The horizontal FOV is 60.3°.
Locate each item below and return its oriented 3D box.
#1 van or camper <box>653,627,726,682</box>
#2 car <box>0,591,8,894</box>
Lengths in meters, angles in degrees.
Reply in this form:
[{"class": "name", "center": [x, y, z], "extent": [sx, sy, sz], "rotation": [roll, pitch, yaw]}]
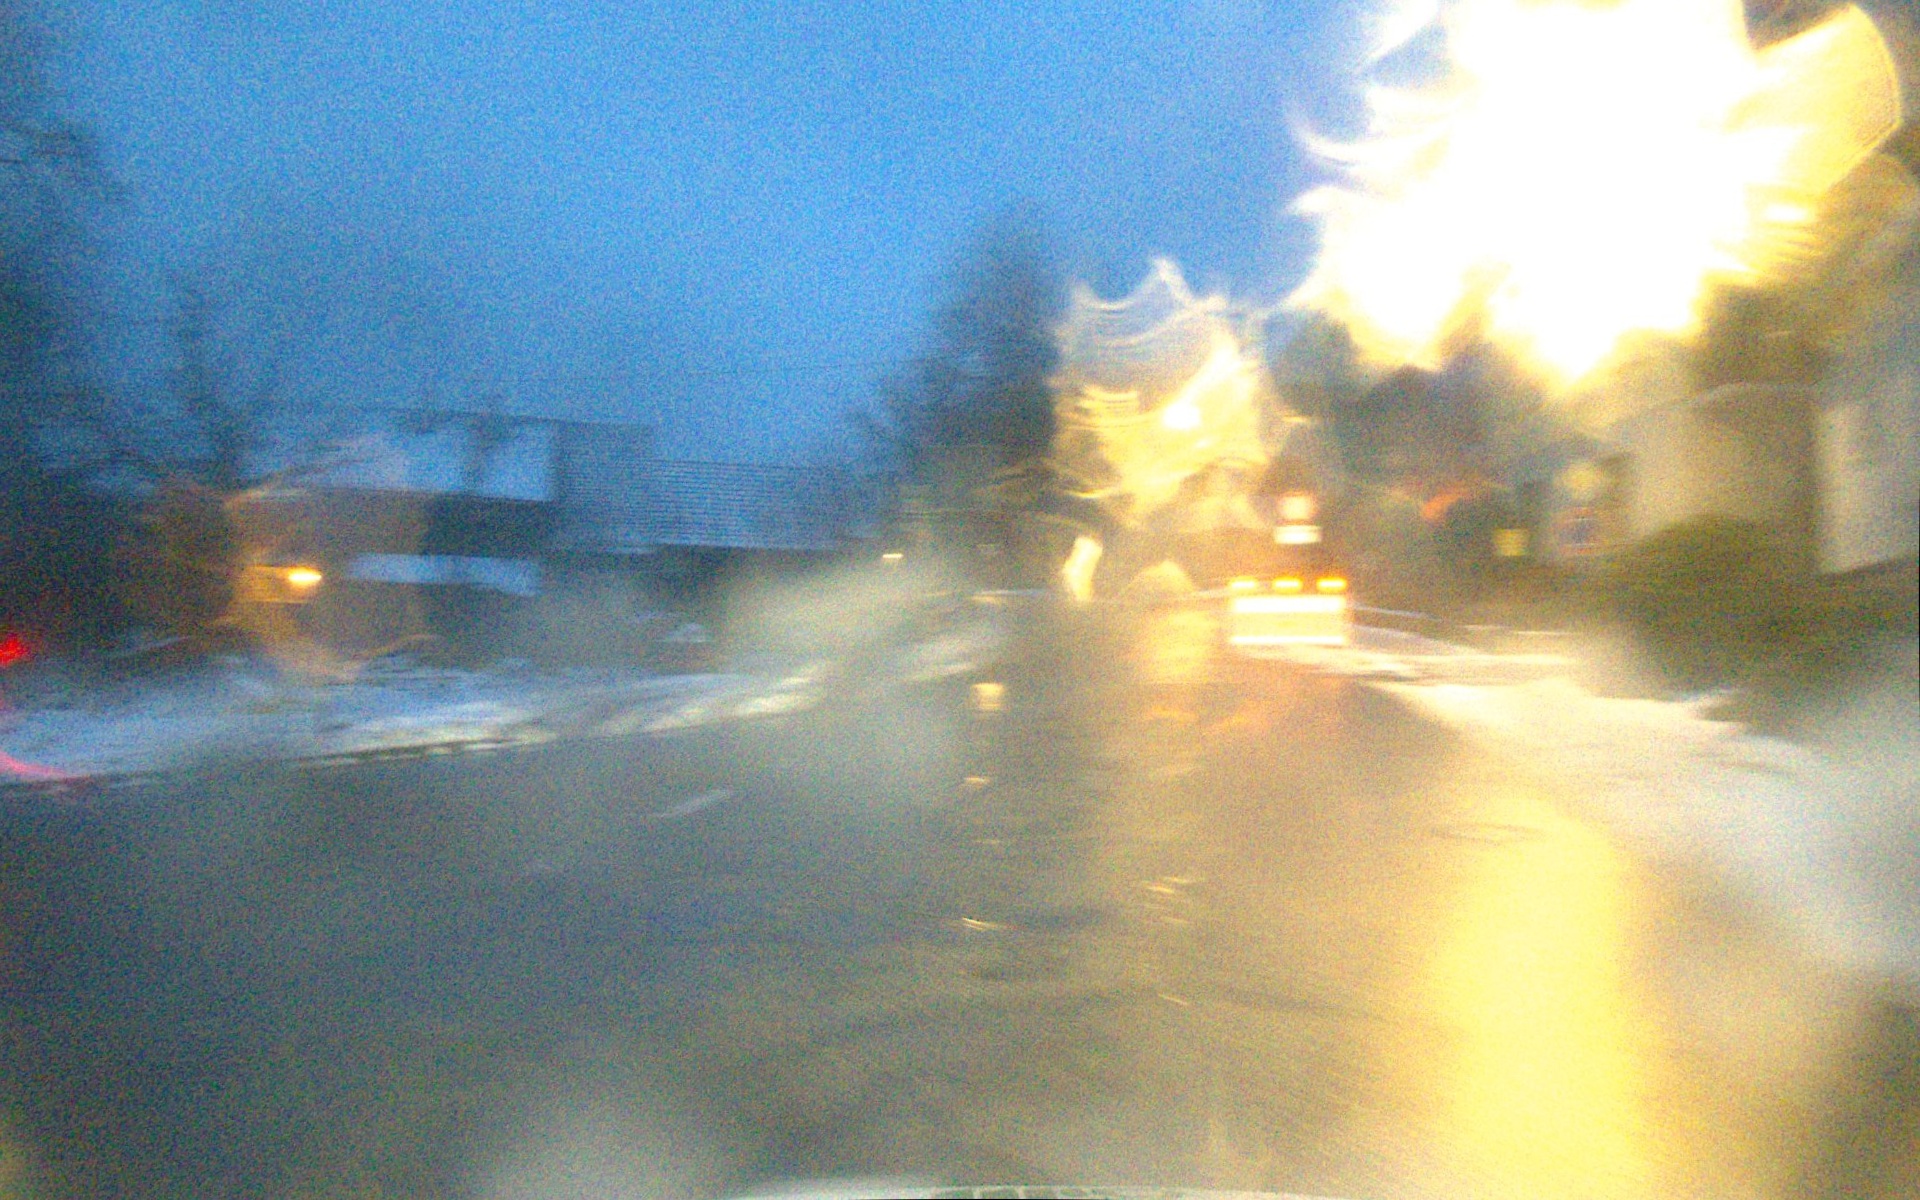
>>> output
[{"class": "van or camper", "center": [-5.912, 1.211, 35.960], "extent": [1.261, 1.121, 3.259], "rotation": [2, -3, -15]}, {"class": "car", "center": [-7.742, 0.905, 9.735], "extent": [3.491, 1.828, 1.829], "rotation": [-2, -1, 18]}]
